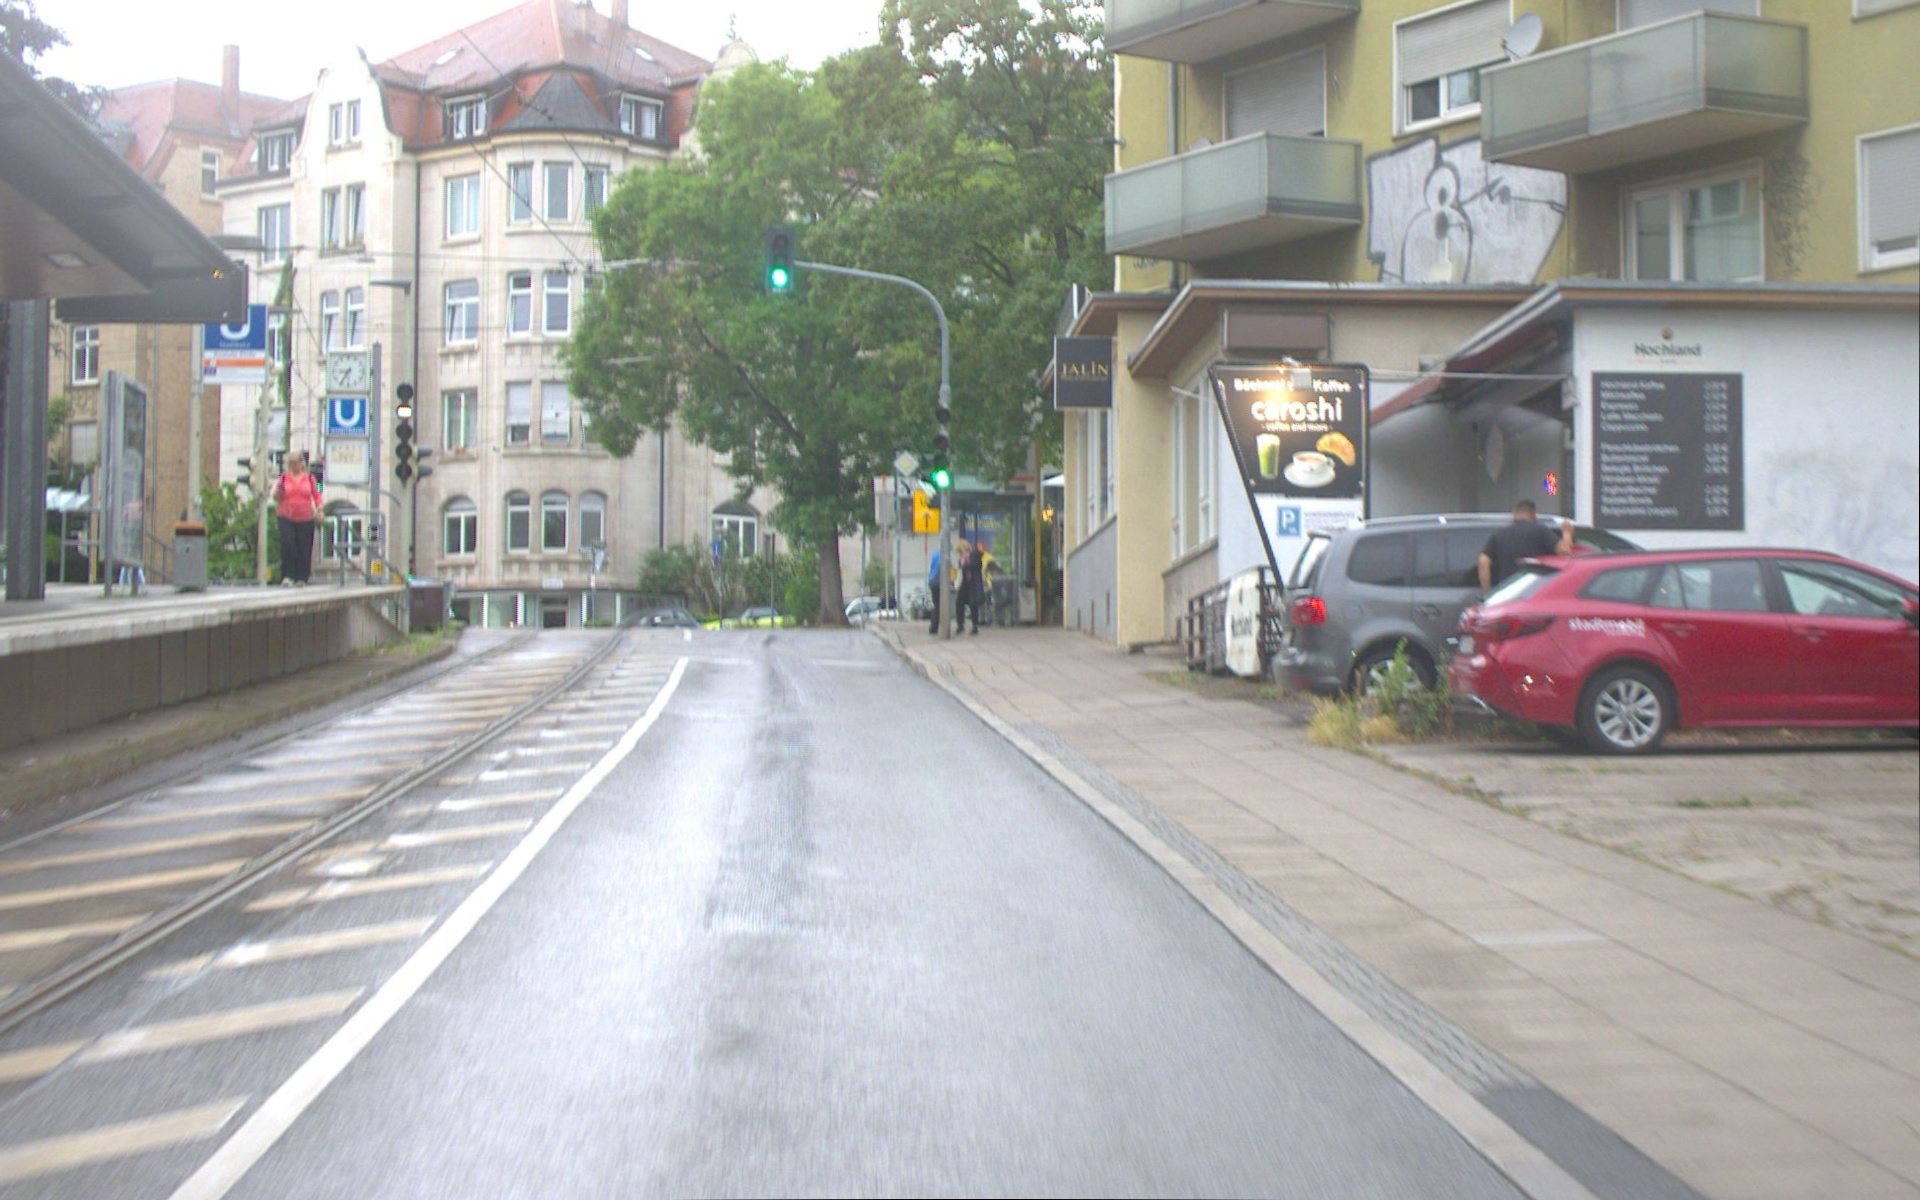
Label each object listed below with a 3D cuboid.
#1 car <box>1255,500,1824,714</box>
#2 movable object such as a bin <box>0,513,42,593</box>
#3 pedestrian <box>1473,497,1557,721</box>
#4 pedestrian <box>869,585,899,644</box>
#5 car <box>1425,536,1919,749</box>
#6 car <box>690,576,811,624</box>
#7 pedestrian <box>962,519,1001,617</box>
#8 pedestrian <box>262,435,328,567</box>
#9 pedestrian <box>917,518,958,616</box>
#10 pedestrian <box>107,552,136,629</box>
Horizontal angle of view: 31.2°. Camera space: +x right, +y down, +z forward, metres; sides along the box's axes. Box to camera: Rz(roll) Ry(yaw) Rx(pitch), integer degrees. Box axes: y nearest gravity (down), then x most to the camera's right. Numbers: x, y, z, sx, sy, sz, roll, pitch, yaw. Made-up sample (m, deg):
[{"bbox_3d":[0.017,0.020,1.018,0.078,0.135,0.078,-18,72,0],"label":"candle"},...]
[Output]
[{"bbox_3d":[4.659,0.040,28.068,4.328,1.668,1.780,0,1,-1],"label":"car"},{"bbox_3d":[-17.487,-0.873,62.763,1.021,1.429,1.444,3,1,-1],"label":"movable object such as a bin"},{"bbox_3d":[4.317,0.062,26.724,0.607,1.708,0.721,-1,1,10],"label":"pedestrian"},{"bbox_3d":[-2.133,0.398,96.731,0.544,1.624,0.601,2,1,-36],"label":"pedestrian"},{"bbox_3d":[5.739,0.274,24.429,4.568,1.433,1.765,0,1,-3],"label":"car"},{"bbox_3d":[-6.824,0.002,112.147,3.661,1.503,1.736,-1,1,-45],"label":"car"},{"bbox_3d":[0.348,-0.519,55.320,0.545,1.548,0.559,-1,1,-5],"label":"pedestrian"},{"bbox_3d":[-7.867,-1.174,40.677,0.671,1.542,0.771,0,1,-4],"label":"pedestrian"},{"bbox_3d":[-0.358,-0.535,54.999,0.588,1.548,0.650,-1,1,-4],"label":"pedestrian"},{"bbox_3d":[-18.419,-0.206,75.550,0.568,1.678,0.776,0,-1,-10],"label":"pedestrian"}]
